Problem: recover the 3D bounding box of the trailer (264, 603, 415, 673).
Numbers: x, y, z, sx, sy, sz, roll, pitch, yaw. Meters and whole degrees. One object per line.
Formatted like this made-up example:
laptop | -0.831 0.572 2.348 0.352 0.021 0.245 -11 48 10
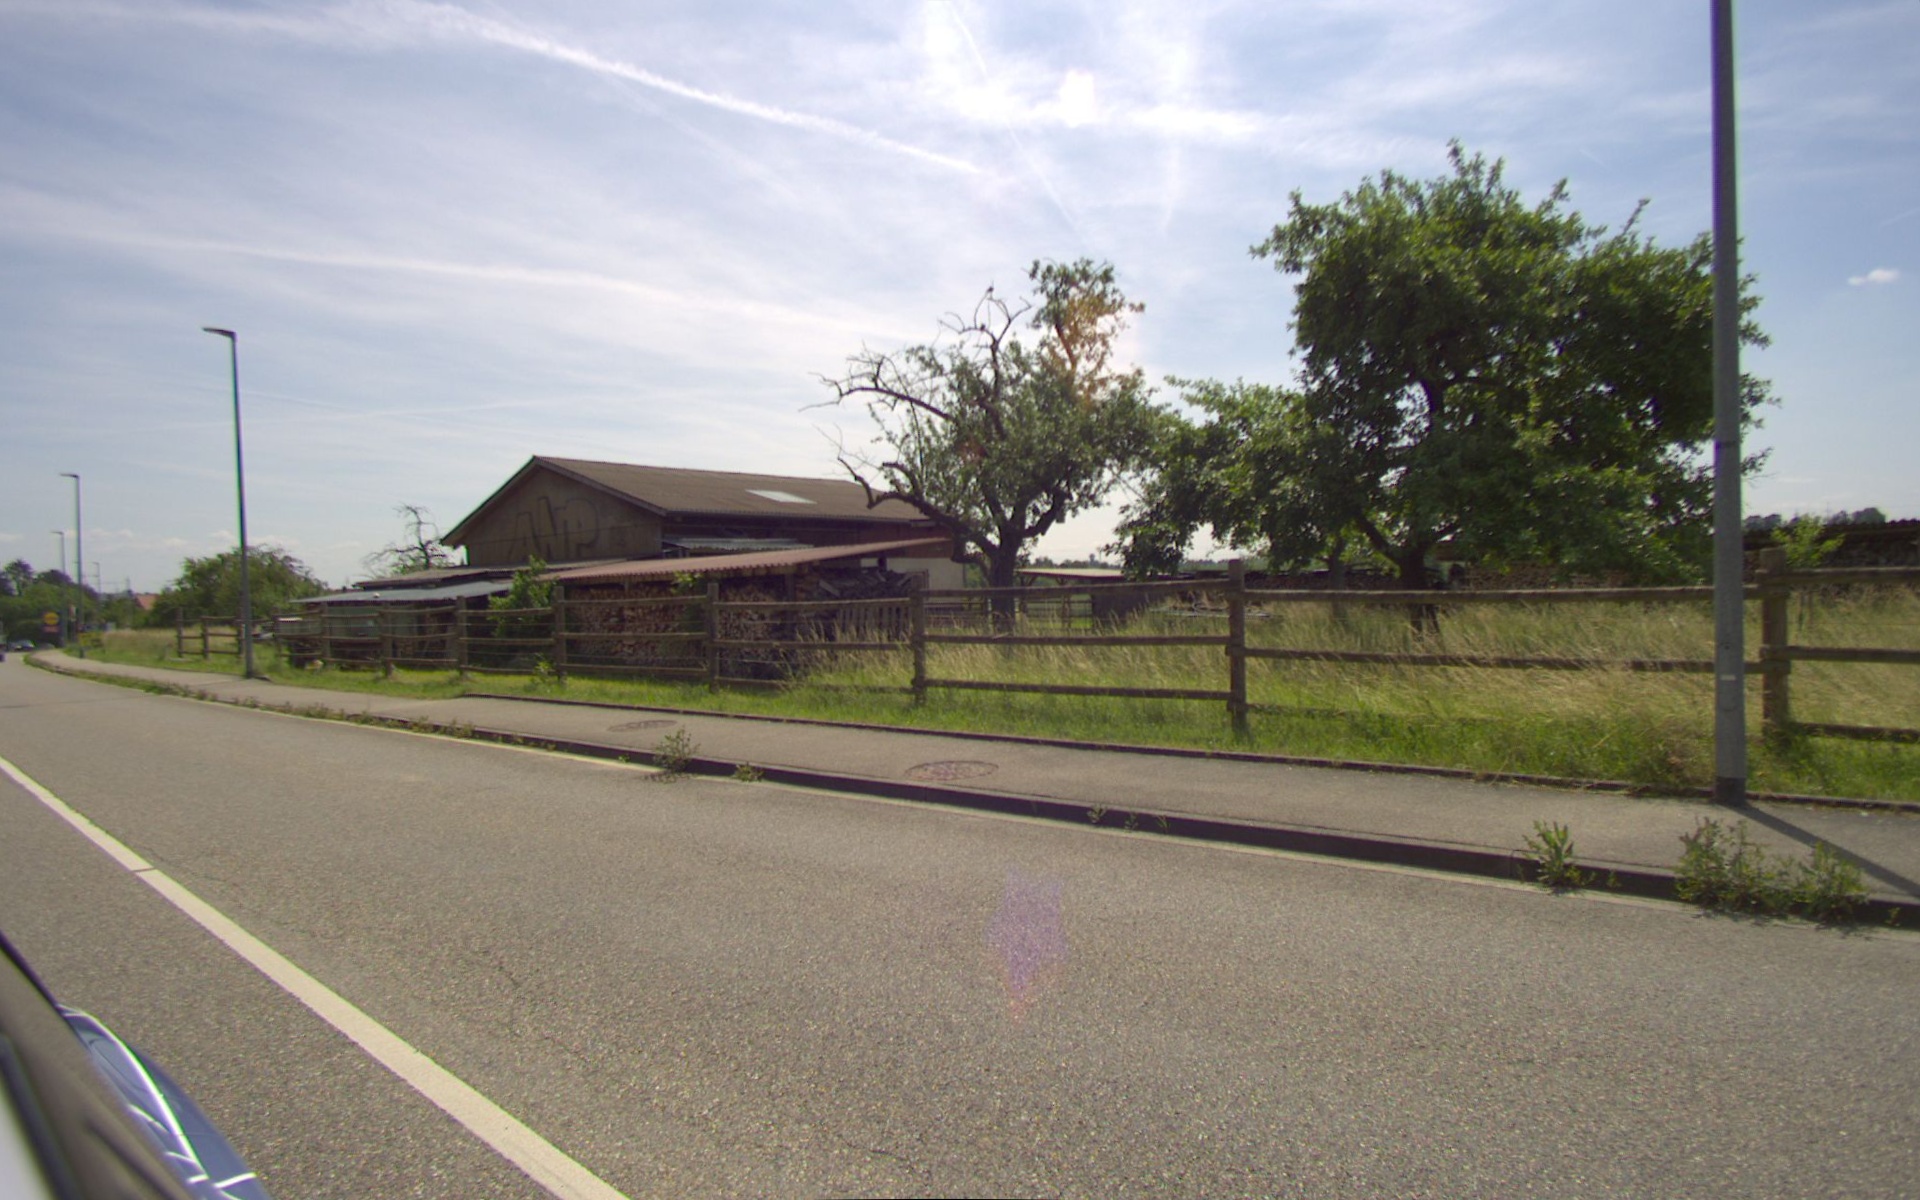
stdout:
trailer | -16.787 1.004 27.282 5.027 1.716 2.132 -2 -1 42
